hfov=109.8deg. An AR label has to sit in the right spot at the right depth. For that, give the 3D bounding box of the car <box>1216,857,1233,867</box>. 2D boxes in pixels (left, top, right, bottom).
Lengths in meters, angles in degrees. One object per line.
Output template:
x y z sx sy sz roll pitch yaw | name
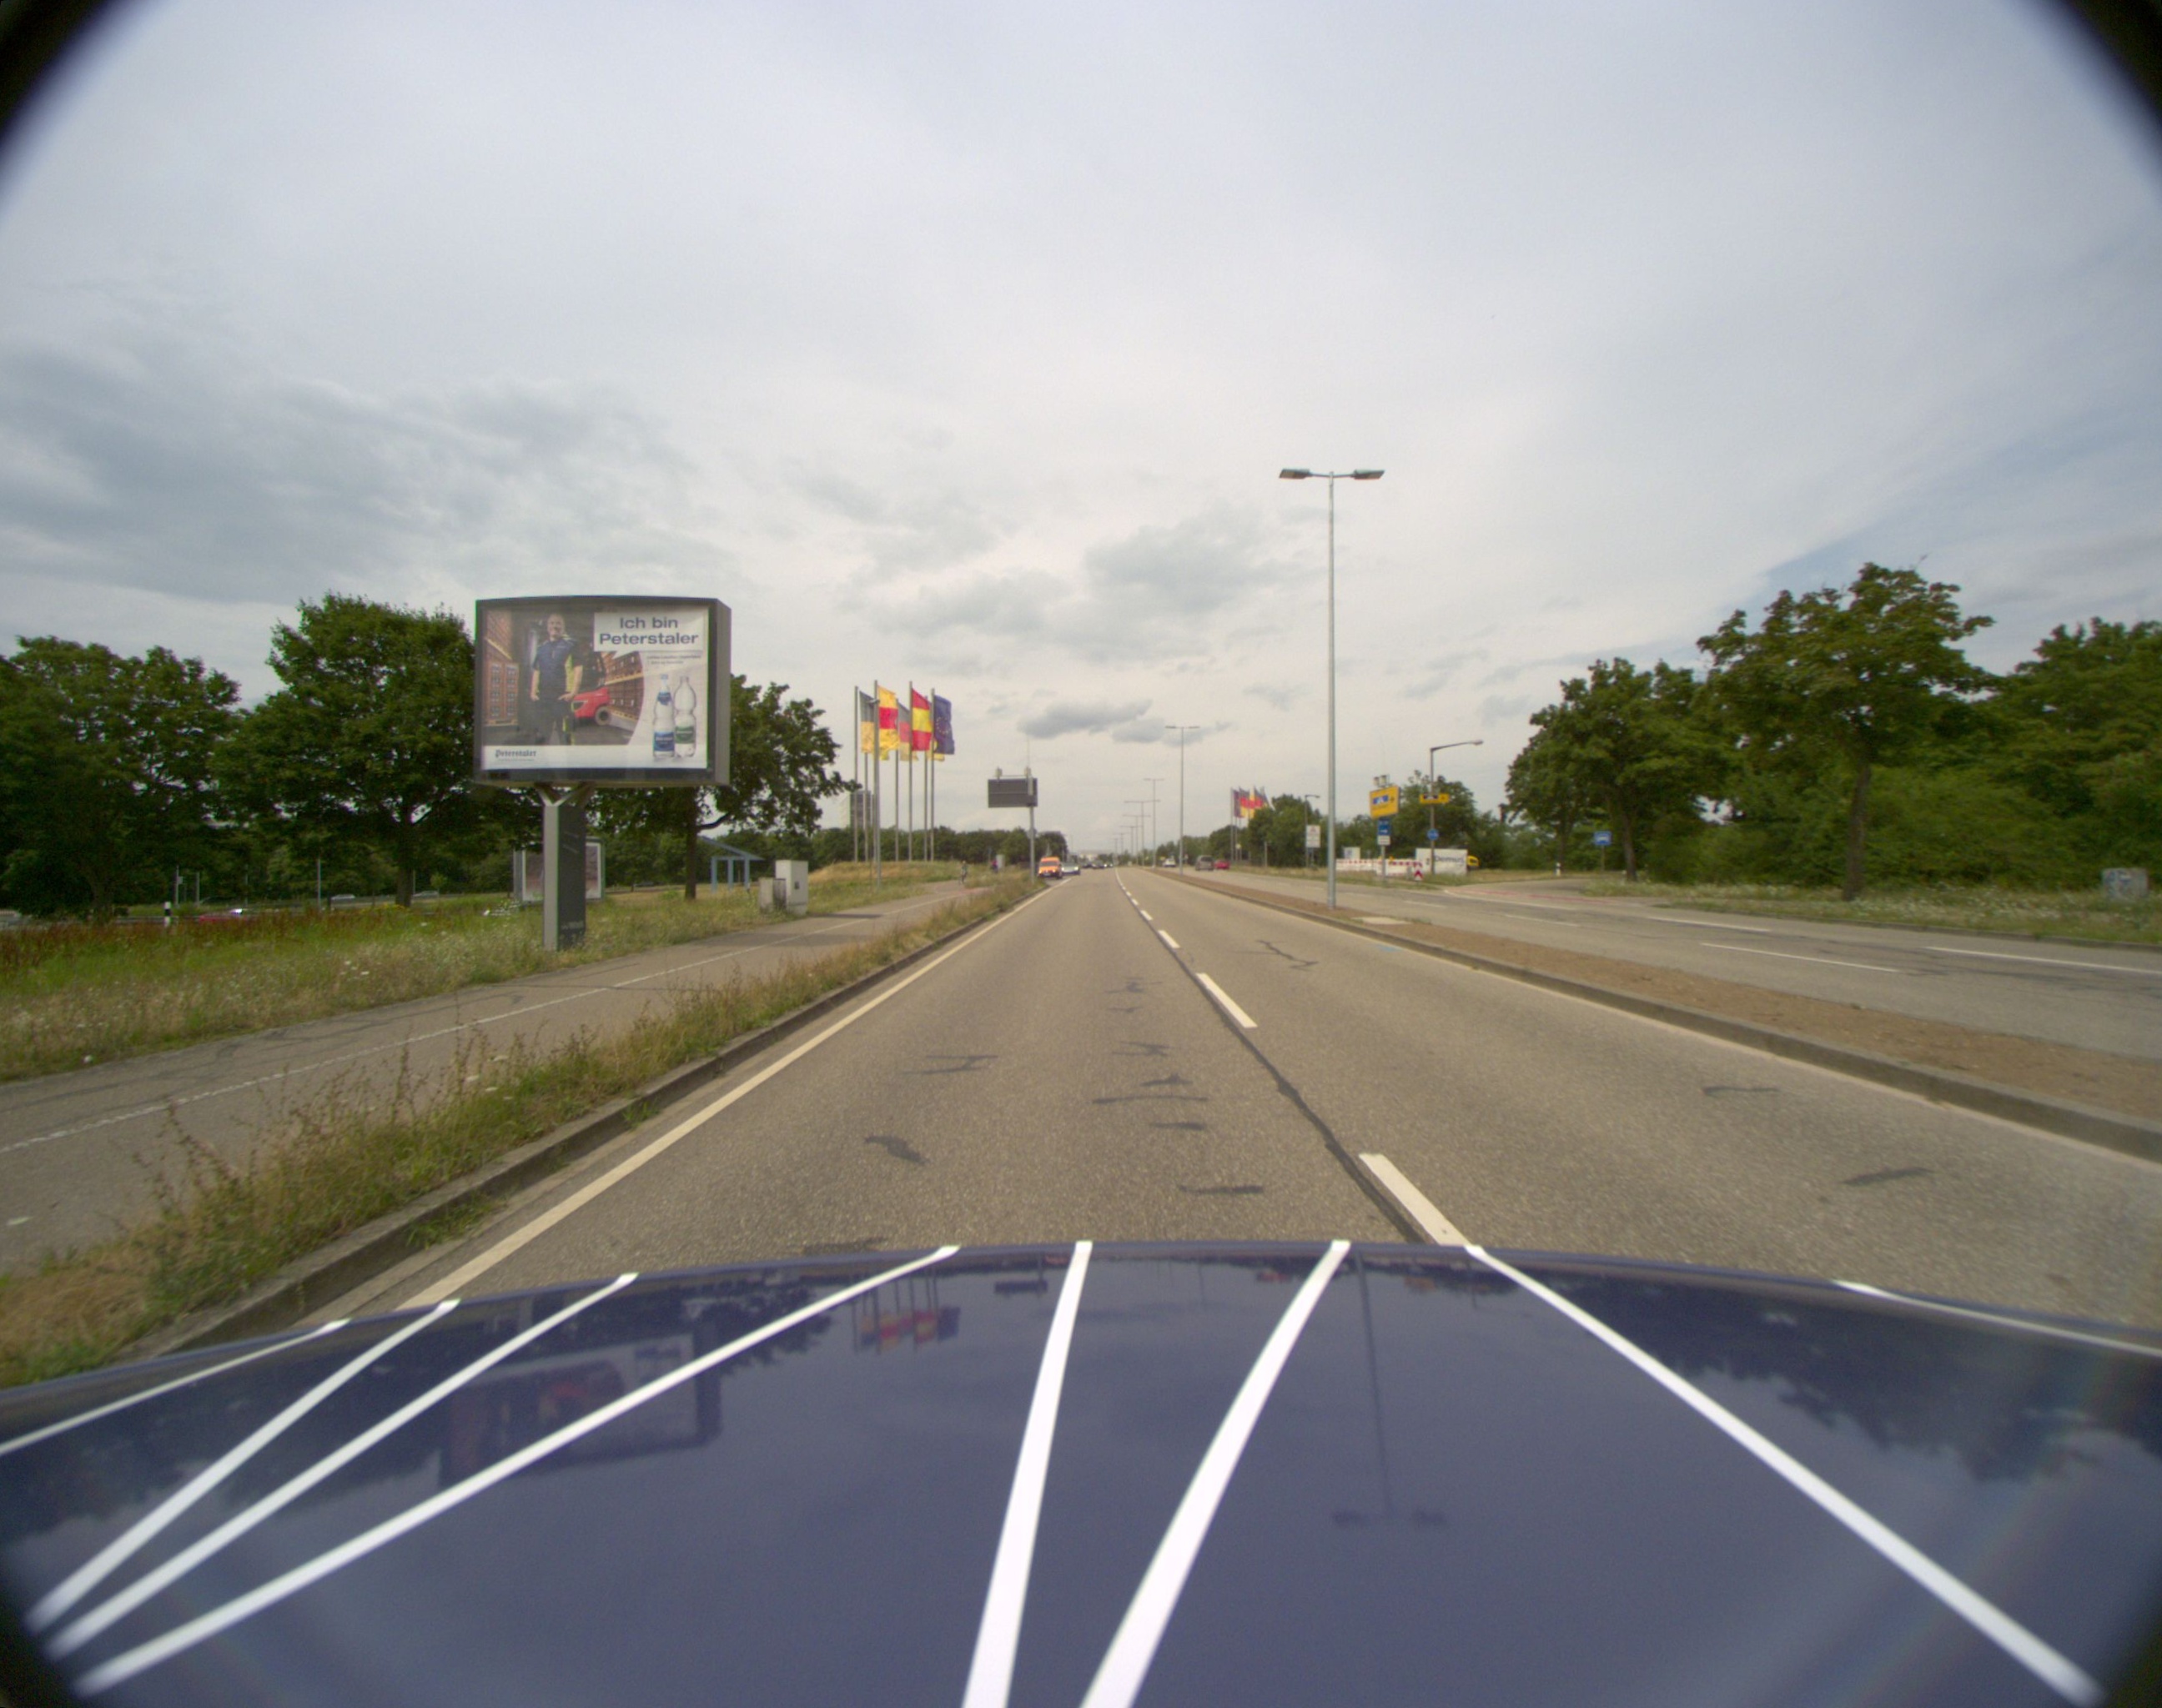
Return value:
19.593 1.086 104.030 1.758 1.314 4.348 -1 -1 3 | car

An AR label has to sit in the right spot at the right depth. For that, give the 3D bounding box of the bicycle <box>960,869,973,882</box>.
-8.569 1.603 57.074 0.625 0.883 2.154 -1 0 0 | bicycle

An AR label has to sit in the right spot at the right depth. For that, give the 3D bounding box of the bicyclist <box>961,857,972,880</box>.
-8.584 1.094 57.047 0.623 1.656 0.669 2 -1 0 | bicyclist

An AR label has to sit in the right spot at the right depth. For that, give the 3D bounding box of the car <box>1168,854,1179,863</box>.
17.642 0.787 144.485 1.698 1.619 4.385 -1 -1 2 | car

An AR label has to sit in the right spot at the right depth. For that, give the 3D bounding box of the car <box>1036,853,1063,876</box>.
-2.524 0.884 62.446 1.892 1.824 4.431 -2 -1 1 | car

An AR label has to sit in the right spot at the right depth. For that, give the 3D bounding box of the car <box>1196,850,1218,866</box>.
14.899 0.546 90.292 1.907 1.798 4.540 -1 -1 1 | car

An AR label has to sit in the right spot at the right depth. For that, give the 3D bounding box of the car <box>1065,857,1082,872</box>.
-0.768 1.061 76.161 1.695 1.403 3.684 -2 -1 -1 | car

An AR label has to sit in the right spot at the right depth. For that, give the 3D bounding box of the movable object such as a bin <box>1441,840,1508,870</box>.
32.673 0.085 63.106 4.593 2.382 1.999 -1 -1 -9 | movable object such as a bin

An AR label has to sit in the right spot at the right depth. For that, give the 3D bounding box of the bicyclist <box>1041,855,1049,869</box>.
-4.638 1.045 97.784 0.873 1.792 0.956 -1 3 -5 | bicyclist

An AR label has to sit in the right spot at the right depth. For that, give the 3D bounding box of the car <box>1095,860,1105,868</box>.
3.227 1.605 126.512 1.558 1.229 3.470 -2 -1 1 | car

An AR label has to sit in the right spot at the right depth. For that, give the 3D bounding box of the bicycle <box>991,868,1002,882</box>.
-7.315 1.781 65.949 0.695 1.185 2.461 0 -1 0 | bicycle

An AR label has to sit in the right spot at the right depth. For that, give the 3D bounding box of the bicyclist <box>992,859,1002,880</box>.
-7.317 1.338 66.017 0.705 1.745 0.991 -1 0 0 | bicyclist
